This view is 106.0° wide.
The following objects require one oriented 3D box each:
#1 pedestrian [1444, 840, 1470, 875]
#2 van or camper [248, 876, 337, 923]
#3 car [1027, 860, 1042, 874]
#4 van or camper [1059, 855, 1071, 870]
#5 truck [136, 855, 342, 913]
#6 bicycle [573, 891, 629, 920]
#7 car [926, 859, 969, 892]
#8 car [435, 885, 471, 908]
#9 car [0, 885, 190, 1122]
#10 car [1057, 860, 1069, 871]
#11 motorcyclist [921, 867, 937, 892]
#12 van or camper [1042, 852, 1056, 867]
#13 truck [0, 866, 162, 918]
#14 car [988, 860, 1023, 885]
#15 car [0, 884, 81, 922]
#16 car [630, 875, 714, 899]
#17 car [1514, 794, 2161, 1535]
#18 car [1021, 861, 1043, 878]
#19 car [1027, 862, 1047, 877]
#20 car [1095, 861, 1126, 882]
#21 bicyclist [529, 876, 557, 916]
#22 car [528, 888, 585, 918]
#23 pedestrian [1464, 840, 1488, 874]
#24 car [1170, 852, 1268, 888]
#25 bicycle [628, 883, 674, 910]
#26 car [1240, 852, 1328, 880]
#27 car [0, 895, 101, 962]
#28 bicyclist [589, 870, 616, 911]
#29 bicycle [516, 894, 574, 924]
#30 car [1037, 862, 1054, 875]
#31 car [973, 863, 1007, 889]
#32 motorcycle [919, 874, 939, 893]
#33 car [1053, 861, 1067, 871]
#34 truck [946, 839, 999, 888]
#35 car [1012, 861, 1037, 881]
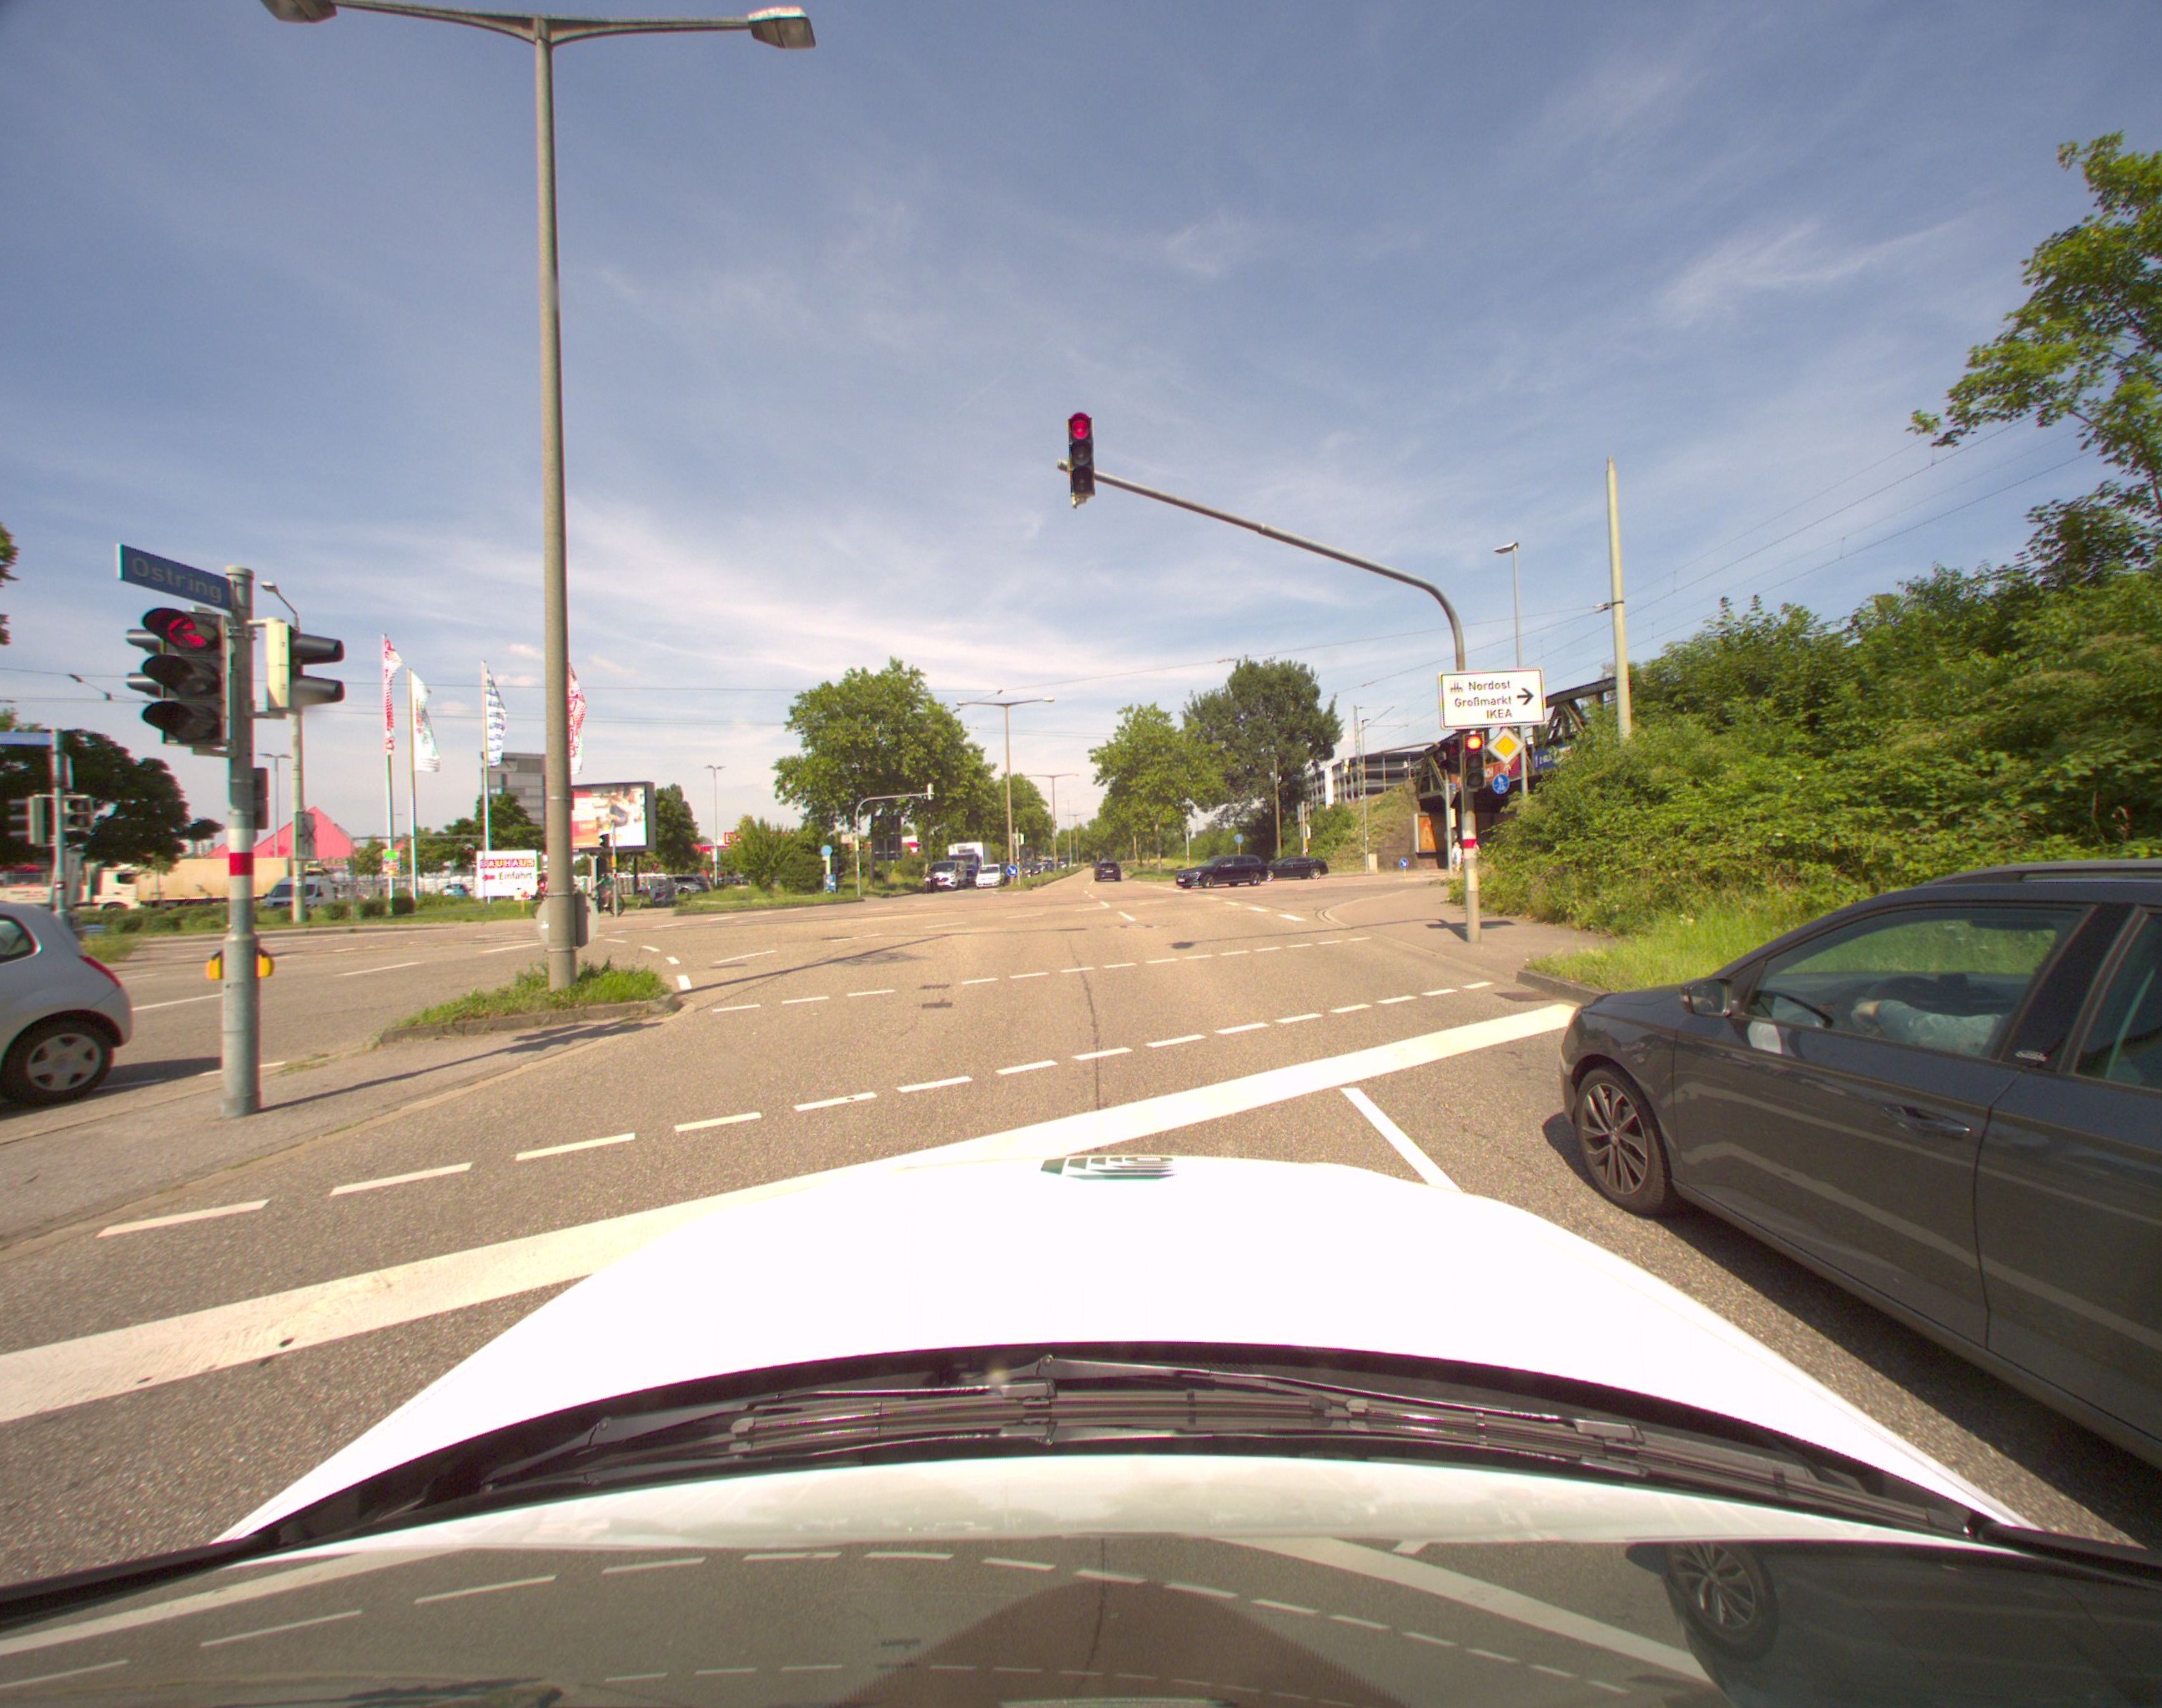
[{"bbox_3d":[17.845,0.181,38.680,0.865,1.611,0.778,-2,-1,1],"label":"pedestrian"},{"bbox_3d":[-41.034,2.310,42.538,2.204,2.210,5.462,-2,-1,-32],"label":"van or camper"},{"bbox_3d":[-6.759,1.910,119.266,1.682,1.858,4.038,-3,-1,2],"label":"car"},{"bbox_3d":[-2.731,1.471,140.998,1.932,2.368,5.397,-3,-1,0],"label":"van or camper"},{"bbox_3d":[-55.065,1.891,53.713,8.964,3.311,3.125,-2,-1,-36],"label":"truck"},{"bbox_3d":[-17.853,1.895,30.335,0.412,0.937,2.007,-2,-1,18],"label":"bicycle"},{"bbox_3d":[-8.697,1.378,53.567,1.970,1.999,5.030,-2,0,-1],"label":"car"},{"bbox_3d":[-45.841,3.081,59.504,1.829,1.572,4.234,-2,-1,-34],"label":"car"},{"bbox_3d":[-7.972,1.027,4.582,1.642,1.514,3.739,-2,0,4],"label":"car"},{"bbox_3d":[-2.848,1.857,132.141,1.682,1.510,3.816,-3,0,2],"label":"car"},{"bbox_3d":[-9.066,1.504,48.615,0.740,1.470,0.988,-2,0,1],"label":"motorcyclist"},{"bbox_3d":[-5.844,1.003,148.255,2.007,2.587,5.519,-3,0,2],"label":"van or camper"},{"bbox_3d":[-64.937,2.383,50.755,9.655,2.892,2.895,-2,-1,-35],"label":"truck"},{"bbox_3d":[-5.409,1.316,58.733,1.813,1.646,4.695,-3,-1,2],"label":"car"},{"bbox_3d":[-77.033,3.562,59.865,2.396,2.529,6.066,-2,-1,-31],"label":"car"},{"bbox_3d":[-27.772,2.230,55.476,4.556,1.414,2.196,-2,-1,-6],"label":"car"},{"bbox_3d":[2.964,0.601,2.084,1.668,1.453,4.037,-1,0,2],"label":"car"},{"bbox_3d":[-4.773,1.539,79.523,1.682,1.473,4.220,-4,0,2],"label":"car"},{"bbox_3d":[-4.570,1.609,85.158,1.682,1.472,3.816,-3,0,2],"label":"car"},{"bbox_3d":[2.245,1.264,60.047,1.824,1.391,4.274,-2,0,7],"label":"car"},{"bbox_3d":[-19.245,1.498,29.151,0.523,1.414,0.613,-2,-1,24],"label":"bicyclist"},{"bbox_3d":[-31.681,2.920,49.124,2.212,1.572,4.522,-1,-1,-41],"label":"car"},{"bbox_3d":[18.747,0.161,38.640,0.726,1.579,0.778,-2,-1,1],"label":"pedestrian"},{"bbox_3d":[6.425,0.726,37.819,4.233,1.443,1.773,-2,0,-29],"label":"car"},{"bbox_3d":[-18.777,1.844,35.595,0.590,1.037,1.903,-2,-1,16],"label":"bicycle"},{"bbox_3d":[11.763,0.678,47.279,4.607,1.463,1.907,-2,0,-11],"label":"car"},{"bbox_3d":[-25.785,1.774,18.305,4.480,1.411,1.622,-2,0,-34],"label":"car"},{"bbox_3d":[-17.853,1.371,30.388,0.523,1.491,0.612,-2,-1,17],"label":"bicyclist"},{"bbox_3d":[-19.176,1.958,29.160,0.430,0.937,1.761,-2,-1,24],"label":"bicycle"},{"bbox_3d":[-4.239,1.710,97.853,1.778,1.489,4.211,-3,0,1],"label":"car"},{"bbox_3d":[-5.847,1.388,52.866,1.587,1.477,3.731,-3,0,2],"label":"car"},{"bbox_3d":[-9.028,1.747,48.518,0.685,0.991,2.218,-2,0,2],"label":"motorcycle"},{"bbox_3d":[-3.174,1.844,125.475,1.777,1.459,4.473,-3,0,2],"label":"car"},{"bbox_3d":[-8.410,0.688,63.942,2.793,3.471,6.693,-4,0,2],"label":"truck"},{"bbox_3d":[-4.955,1.464,72.248,1.682,1.586,4.242,-3,0,2],"label":"car"}]
